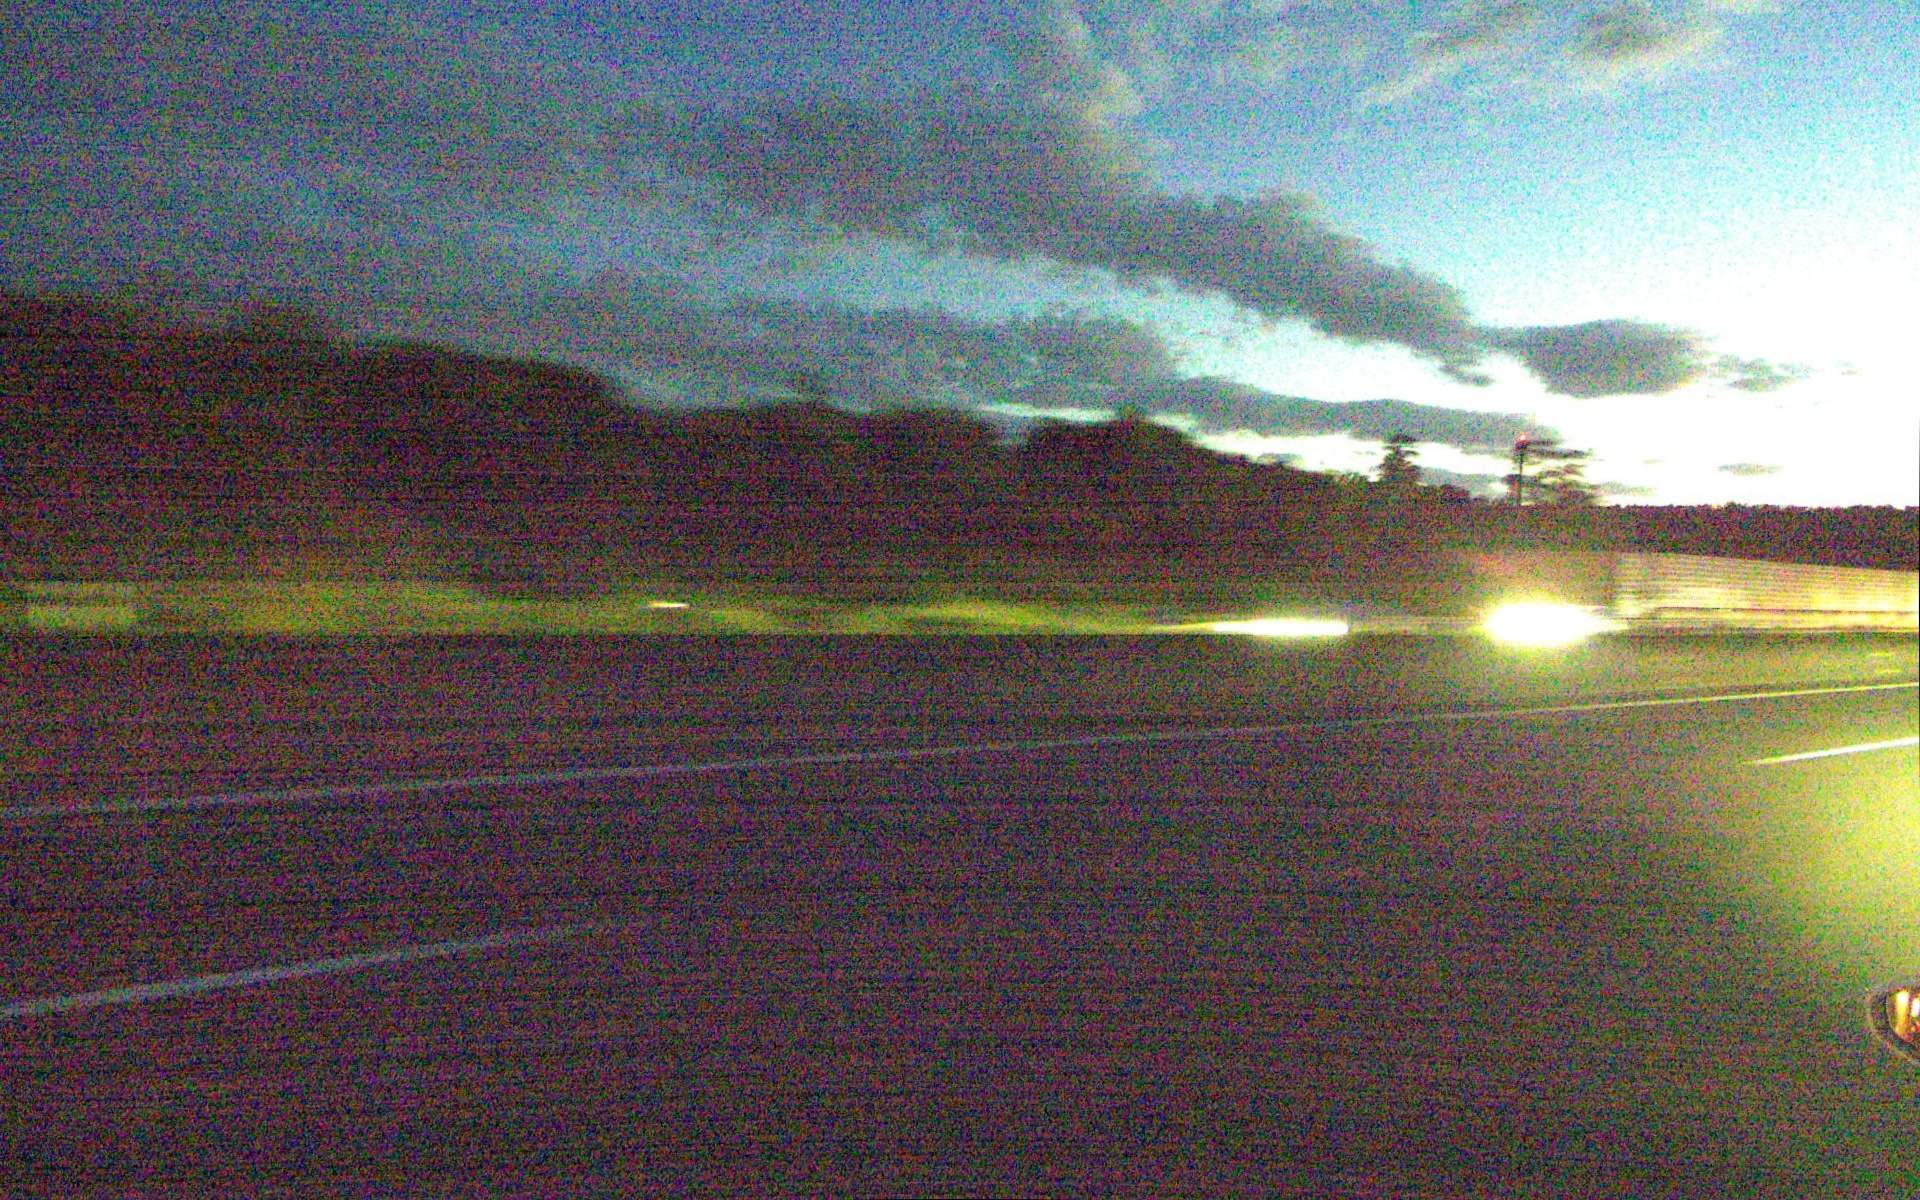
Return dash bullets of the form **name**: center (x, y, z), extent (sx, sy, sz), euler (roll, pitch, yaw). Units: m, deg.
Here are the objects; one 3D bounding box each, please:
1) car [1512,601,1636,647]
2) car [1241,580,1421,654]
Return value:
- **car**: center (25.321, 1.012, 41.384), extent (5.323, 1.710, 2.094), euler (2, 0, -30)
- **car**: center (10.045, 0.468, 27.121), extent (4.605, 1.813, 2.094), euler (2, 0, -30)
